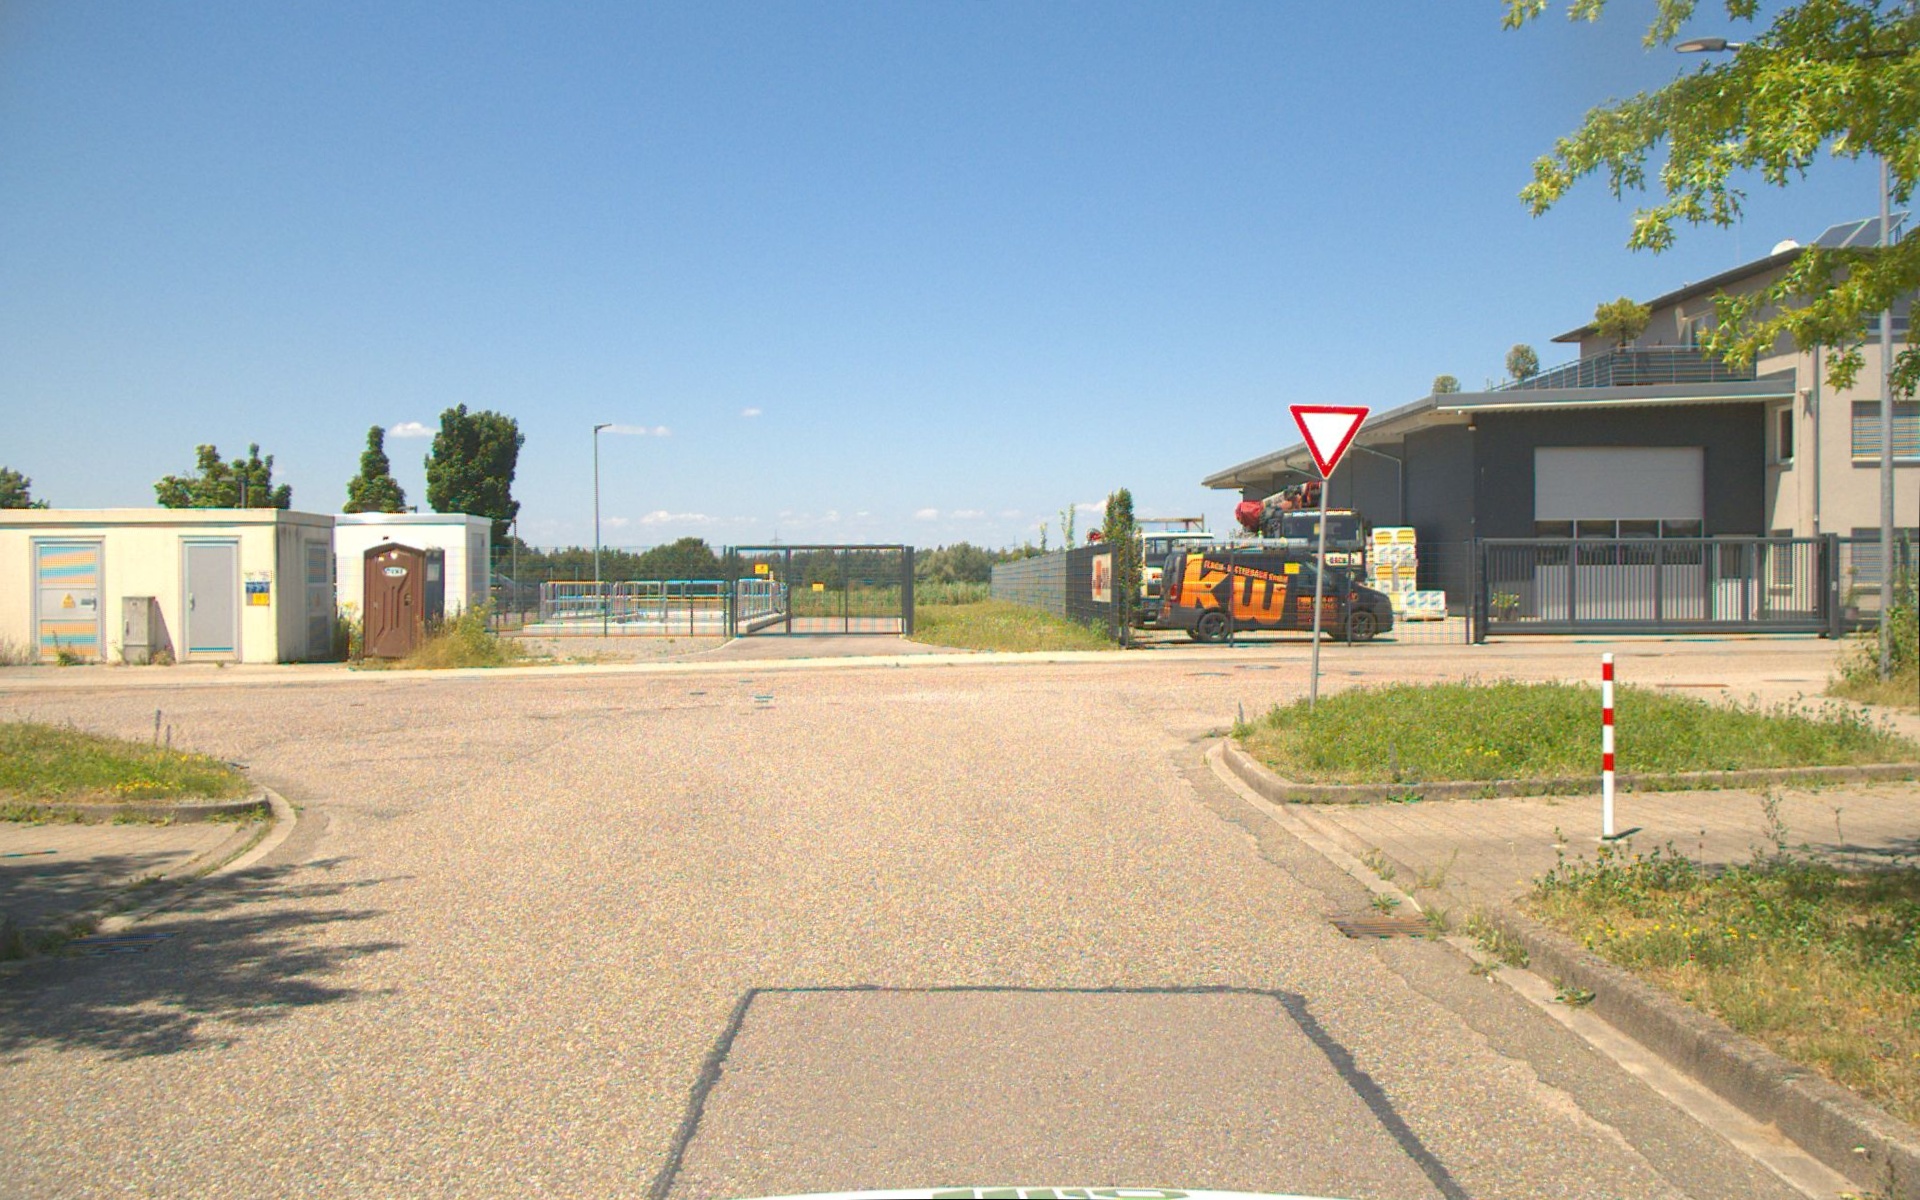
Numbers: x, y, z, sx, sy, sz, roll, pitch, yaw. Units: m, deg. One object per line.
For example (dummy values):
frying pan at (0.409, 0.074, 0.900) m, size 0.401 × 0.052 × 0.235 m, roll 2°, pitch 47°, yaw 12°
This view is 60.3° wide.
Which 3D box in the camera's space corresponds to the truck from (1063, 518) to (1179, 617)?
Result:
truck at (5.138, -1.036, 54.018) m, size 2.862 × 2.989 × 6.934 m, roll -1°, pitch 1°, yaw -2°

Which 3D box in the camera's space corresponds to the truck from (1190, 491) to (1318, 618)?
truck at (9.822, -1.487, 55.929) m, size 2.862 × 3.997 × 6.934 m, roll -1°, pitch 1°, yaw -2°

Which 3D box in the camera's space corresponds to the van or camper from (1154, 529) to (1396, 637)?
van or camper at (6.774, -0.388, 35.943) m, size 4.837 × 2.201 × 2.000 m, roll -1°, pitch 2°, yaw -2°

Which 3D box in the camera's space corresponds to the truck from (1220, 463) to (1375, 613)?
truck at (9.641, -1.720, 48.021) m, size 2.862 × 3.997 × 6.934 m, roll -1°, pitch 1°, yaw -2°

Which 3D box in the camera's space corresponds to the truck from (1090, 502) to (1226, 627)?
truck at (5.284, -0.938, 45.263) m, size 2.671 × 3.115 × 6.934 m, roll -1°, pitch 1°, yaw -2°

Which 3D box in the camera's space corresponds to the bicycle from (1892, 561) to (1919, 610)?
bicycle at (24.224, -0.382, 41.380) m, size 1.772 × 1.205 × 0.442 m, roll -1°, pitch 1°, yaw -16°
